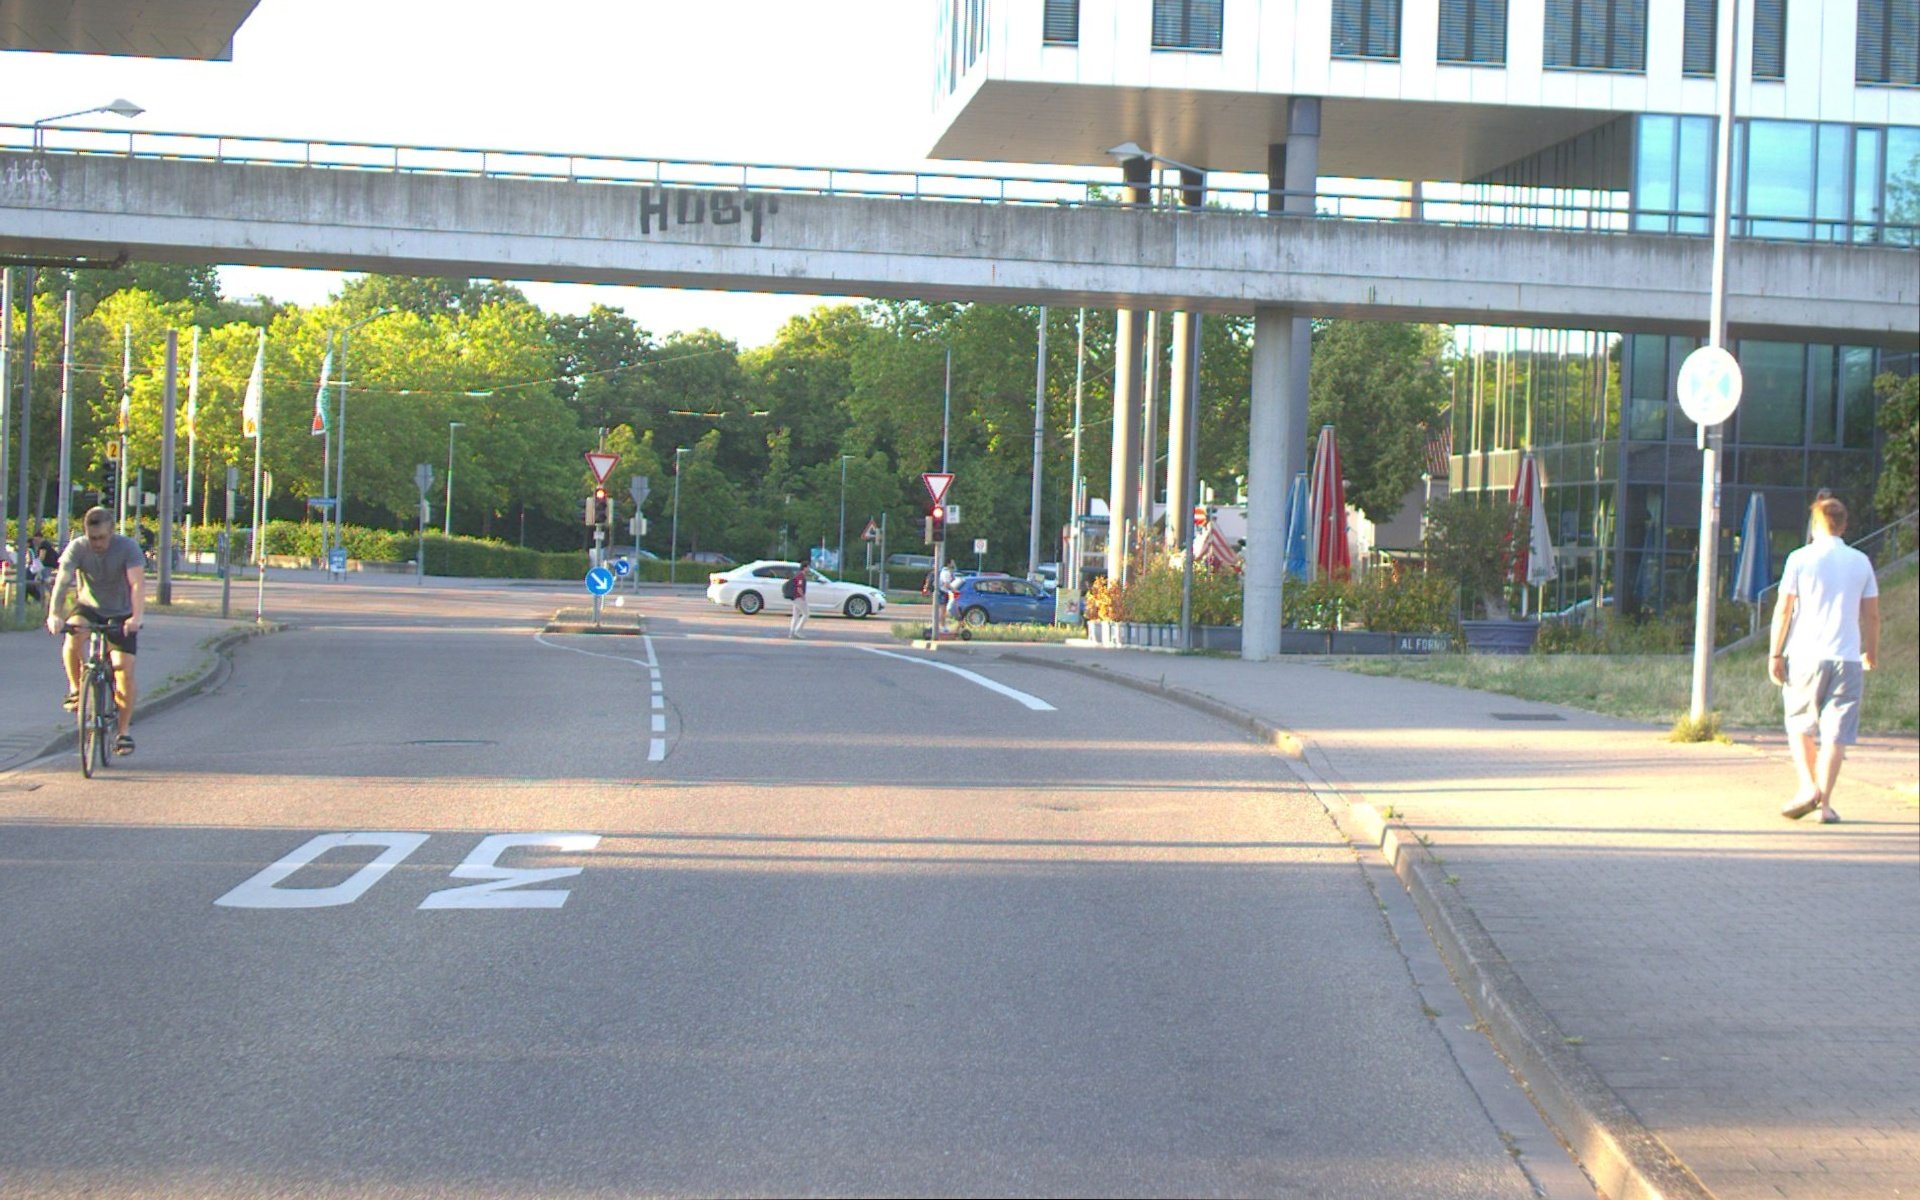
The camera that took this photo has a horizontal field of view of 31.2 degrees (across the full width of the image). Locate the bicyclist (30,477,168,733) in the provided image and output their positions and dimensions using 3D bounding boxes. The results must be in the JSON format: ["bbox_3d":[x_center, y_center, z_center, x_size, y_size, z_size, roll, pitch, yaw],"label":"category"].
[{"bbox_3d":[-5.763,0.015,23.051,0.614,1.657,1.036,2,2,0],"label":"bicyclist"}]

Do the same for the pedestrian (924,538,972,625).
[{"bbox_3d":[-0.293,-0.440,81.146,0.908,1.984,0.772,2,2,-13],"label":"pedestrian"}]

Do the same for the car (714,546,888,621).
[{"bbox_3d":[-4.411,-0.465,94.989,4.686,1.822,1.835,2,2,-4],"label":"car"}]

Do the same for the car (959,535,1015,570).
[{"bbox_3d":[1.315,-2.294,165.591,1.499,1.600,3.399,3,2,22],"label":"car"}]

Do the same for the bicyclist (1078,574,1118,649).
[{"bbox_3d":[3.243,0.270,80.893,0.860,1.725,0.605,2,2,0],"label":"bicyclist"}]

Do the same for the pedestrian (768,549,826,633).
[{"bbox_3d":[-3.699,-0.208,77.874,1.053,1.827,0.895,2,2,-18],"label":"pedestrian"}]

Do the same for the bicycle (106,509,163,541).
[{"bbox_3d":[-30.915,-2.795,128.810,1.962,1.124,0.560,1,2,-30],"label":"bicycle"}]

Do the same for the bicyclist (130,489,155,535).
[{"bbox_3d":[-30.653,-3.296,128.920,0.757,1.717,0.552,1,2,-29],"label":"bicyclist"}]

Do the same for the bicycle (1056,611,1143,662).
[{"bbox_3d":[3.287,0.856,80.911,1.970,1.088,0.622,2,2,0],"label":"bicycle"}]

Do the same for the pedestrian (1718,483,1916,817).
[{"bbox_3d":[4.688,0.256,18.852,0.831,1.760,0.818,2,2,3],"label":"pedestrian"}]

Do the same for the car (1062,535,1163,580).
[{"bbox_3d":[6.871,-1.918,155.247,4.467,1.810,1.945,2,2,1],"label":"car"}]

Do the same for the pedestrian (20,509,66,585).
[{"bbox_3d":[-20.529,-1.189,76.989,0.700,1.658,0.711,3,2,13],"label":"pedestrian"}]

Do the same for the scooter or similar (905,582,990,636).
[{"bbox_3d":[-0.300,0.211,81.182,1.859,1.170,0.764,2,2,-13],"label":"scooter or similar"}]

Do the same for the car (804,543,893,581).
[{"bbox_3d":[-6.109,-2.099,188.132,4.685,1.862,2.013,2,2,2],"label":"car"}]

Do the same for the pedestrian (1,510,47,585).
[{"bbox_3d":[-20.734,-1.165,76.194,0.686,1.618,0.711,3,2,13],"label":"pedestrian"}]

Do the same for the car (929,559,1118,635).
[{"bbox_3d":[1.710,-0.079,92.694,4.712,1.822,1.893,2,2,-13],"label":"car"}]

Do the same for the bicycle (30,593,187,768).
[{"bbox_3d":[-5.686,0.517,23.048,0.538,1.039,1.925,2,2,0],"label":"bicycle"}]
